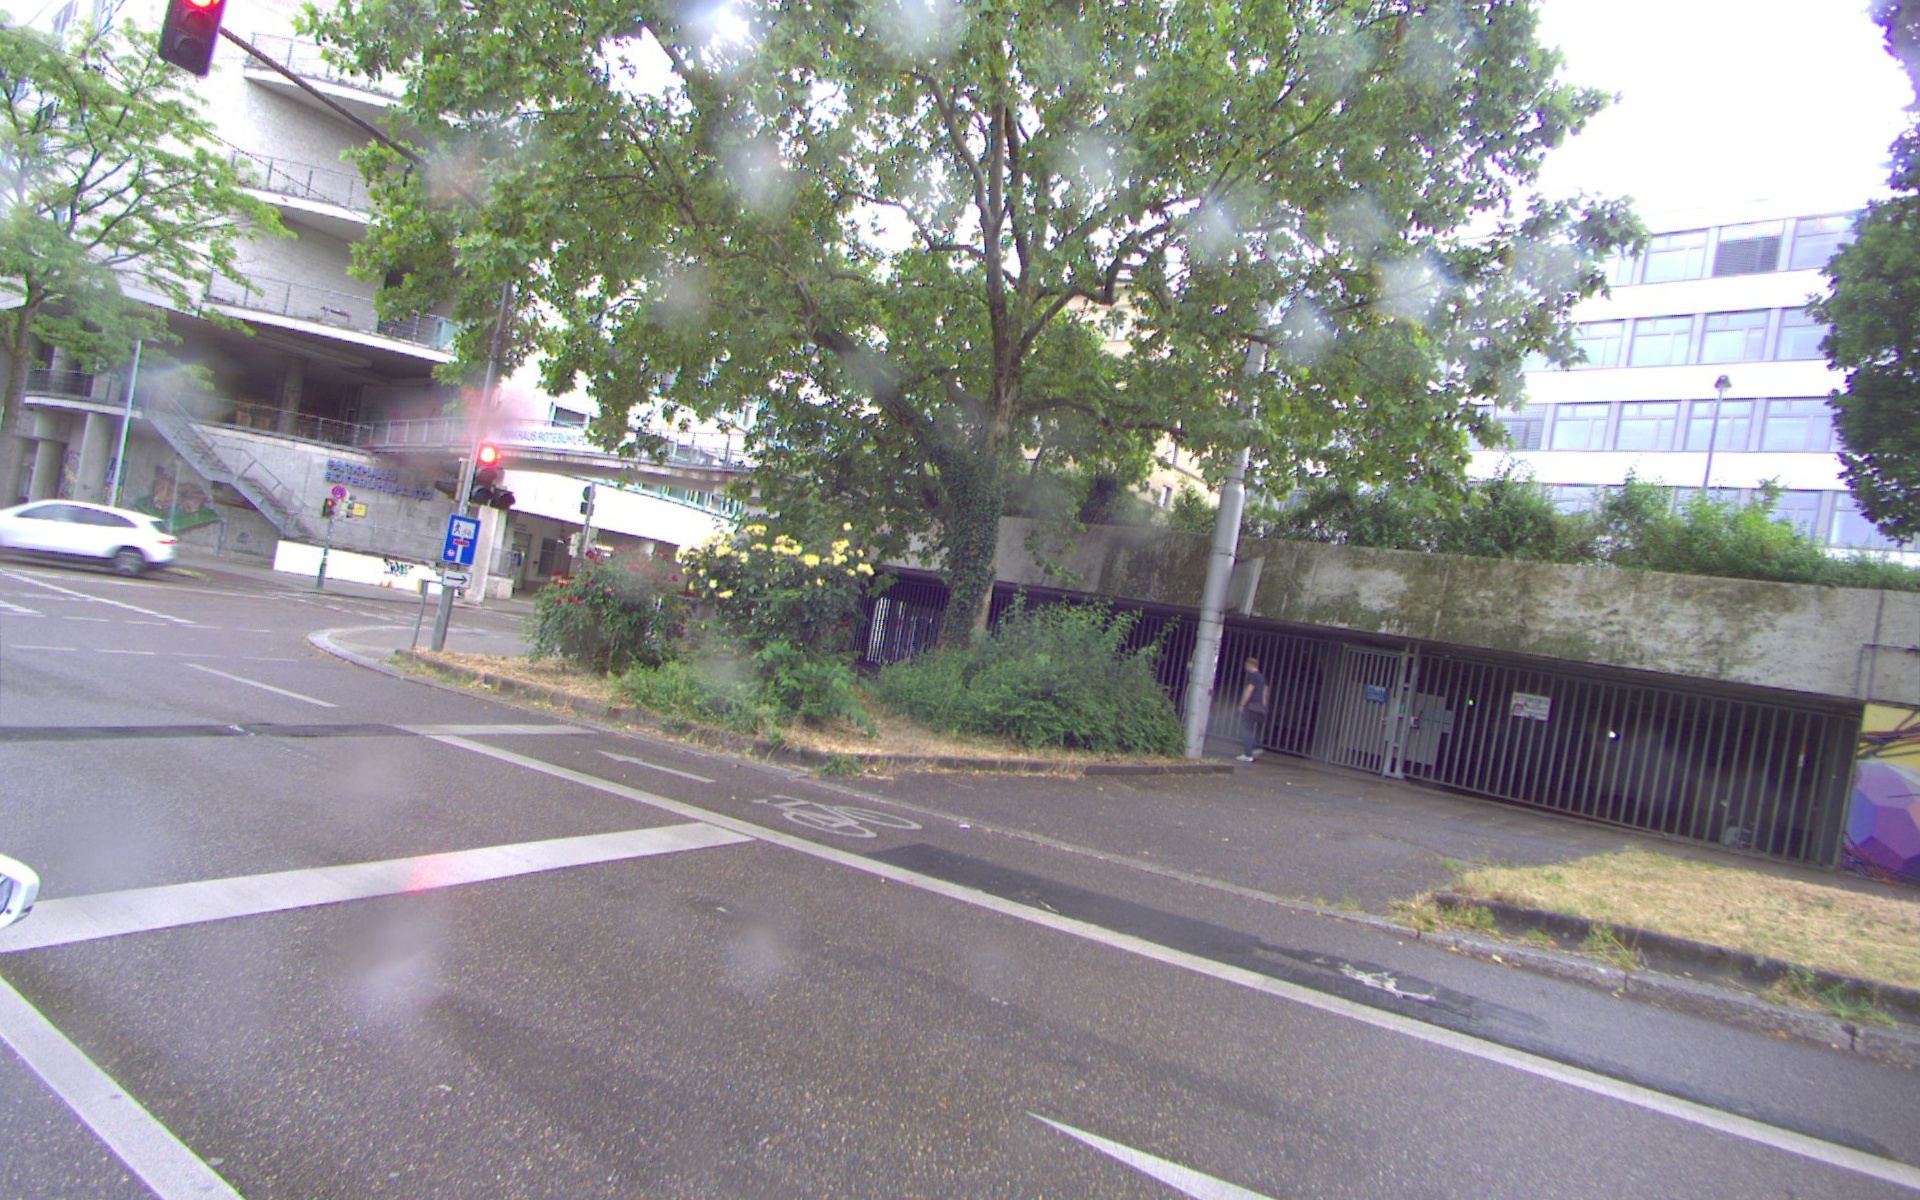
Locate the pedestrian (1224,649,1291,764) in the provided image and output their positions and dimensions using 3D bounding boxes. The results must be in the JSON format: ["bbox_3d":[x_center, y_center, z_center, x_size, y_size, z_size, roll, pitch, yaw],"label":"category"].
[{"bbox_3d":[5.413,1.932,18.289,0.745,1.932,0.847,8,-1,31],"label":"pedestrian"}]

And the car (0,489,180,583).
[{"bbox_3d":[-21.459,-1.580,24.010,4.266,1.658,1.817,10,-3,-37],"label":"car"}]
